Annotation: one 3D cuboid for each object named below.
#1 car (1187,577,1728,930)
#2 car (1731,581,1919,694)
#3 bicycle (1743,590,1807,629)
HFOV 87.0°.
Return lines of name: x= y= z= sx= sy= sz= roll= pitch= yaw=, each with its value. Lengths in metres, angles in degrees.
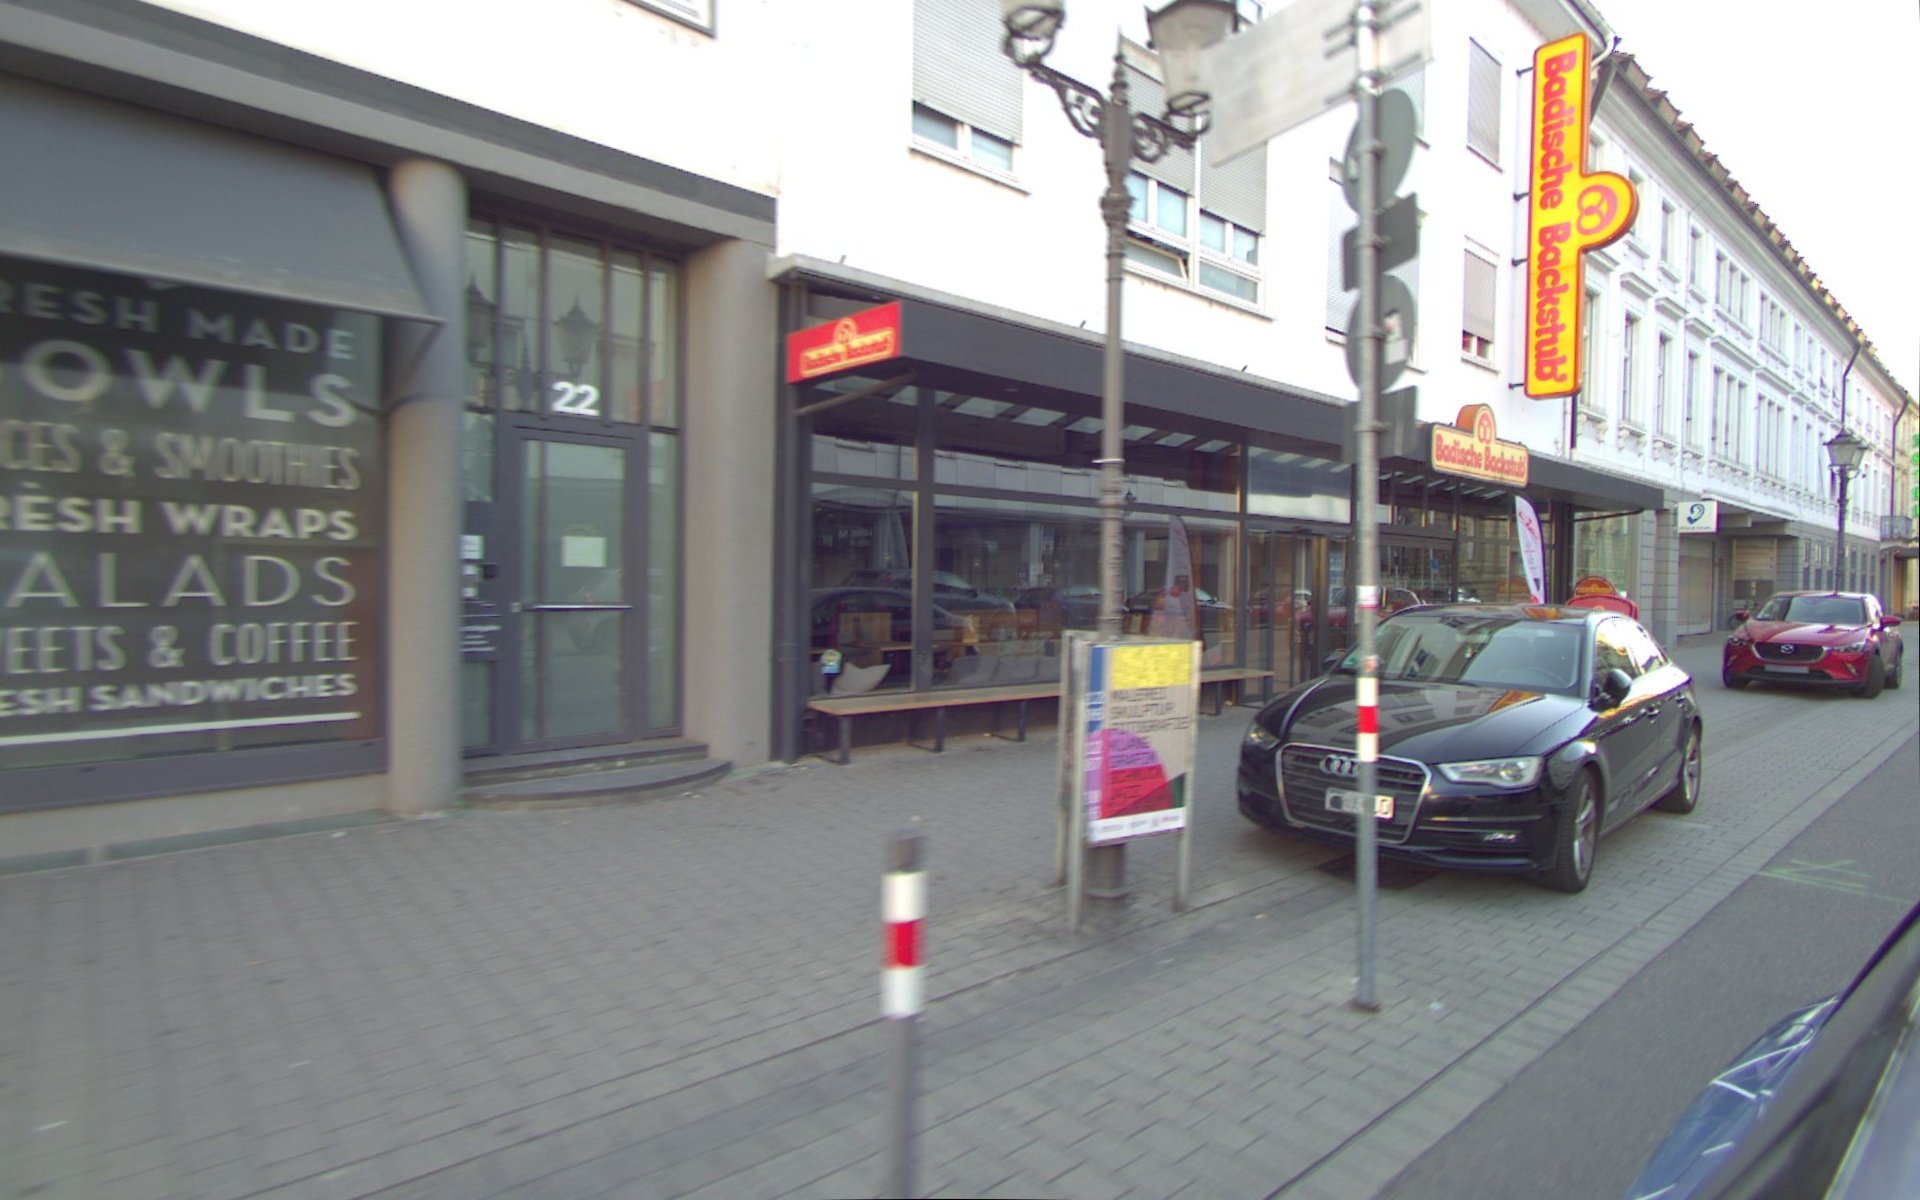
car: x=3.346 y=0.625 z=6.397 sx=4.049 sy=1.482 sz=1.803 roll=-1 pitch=2 yaw=-44
car: x=13.623 y=0.499 z=15.840 sx=3.613 sy=1.542 sz=1.763 roll=0 pitch=1 yaw=-41
bicycle: x=27.902 y=0.309 z=34.679 sx=0.431 sy=1.268 sz=1.658 roll=0 pitch=1 yaw=-43
